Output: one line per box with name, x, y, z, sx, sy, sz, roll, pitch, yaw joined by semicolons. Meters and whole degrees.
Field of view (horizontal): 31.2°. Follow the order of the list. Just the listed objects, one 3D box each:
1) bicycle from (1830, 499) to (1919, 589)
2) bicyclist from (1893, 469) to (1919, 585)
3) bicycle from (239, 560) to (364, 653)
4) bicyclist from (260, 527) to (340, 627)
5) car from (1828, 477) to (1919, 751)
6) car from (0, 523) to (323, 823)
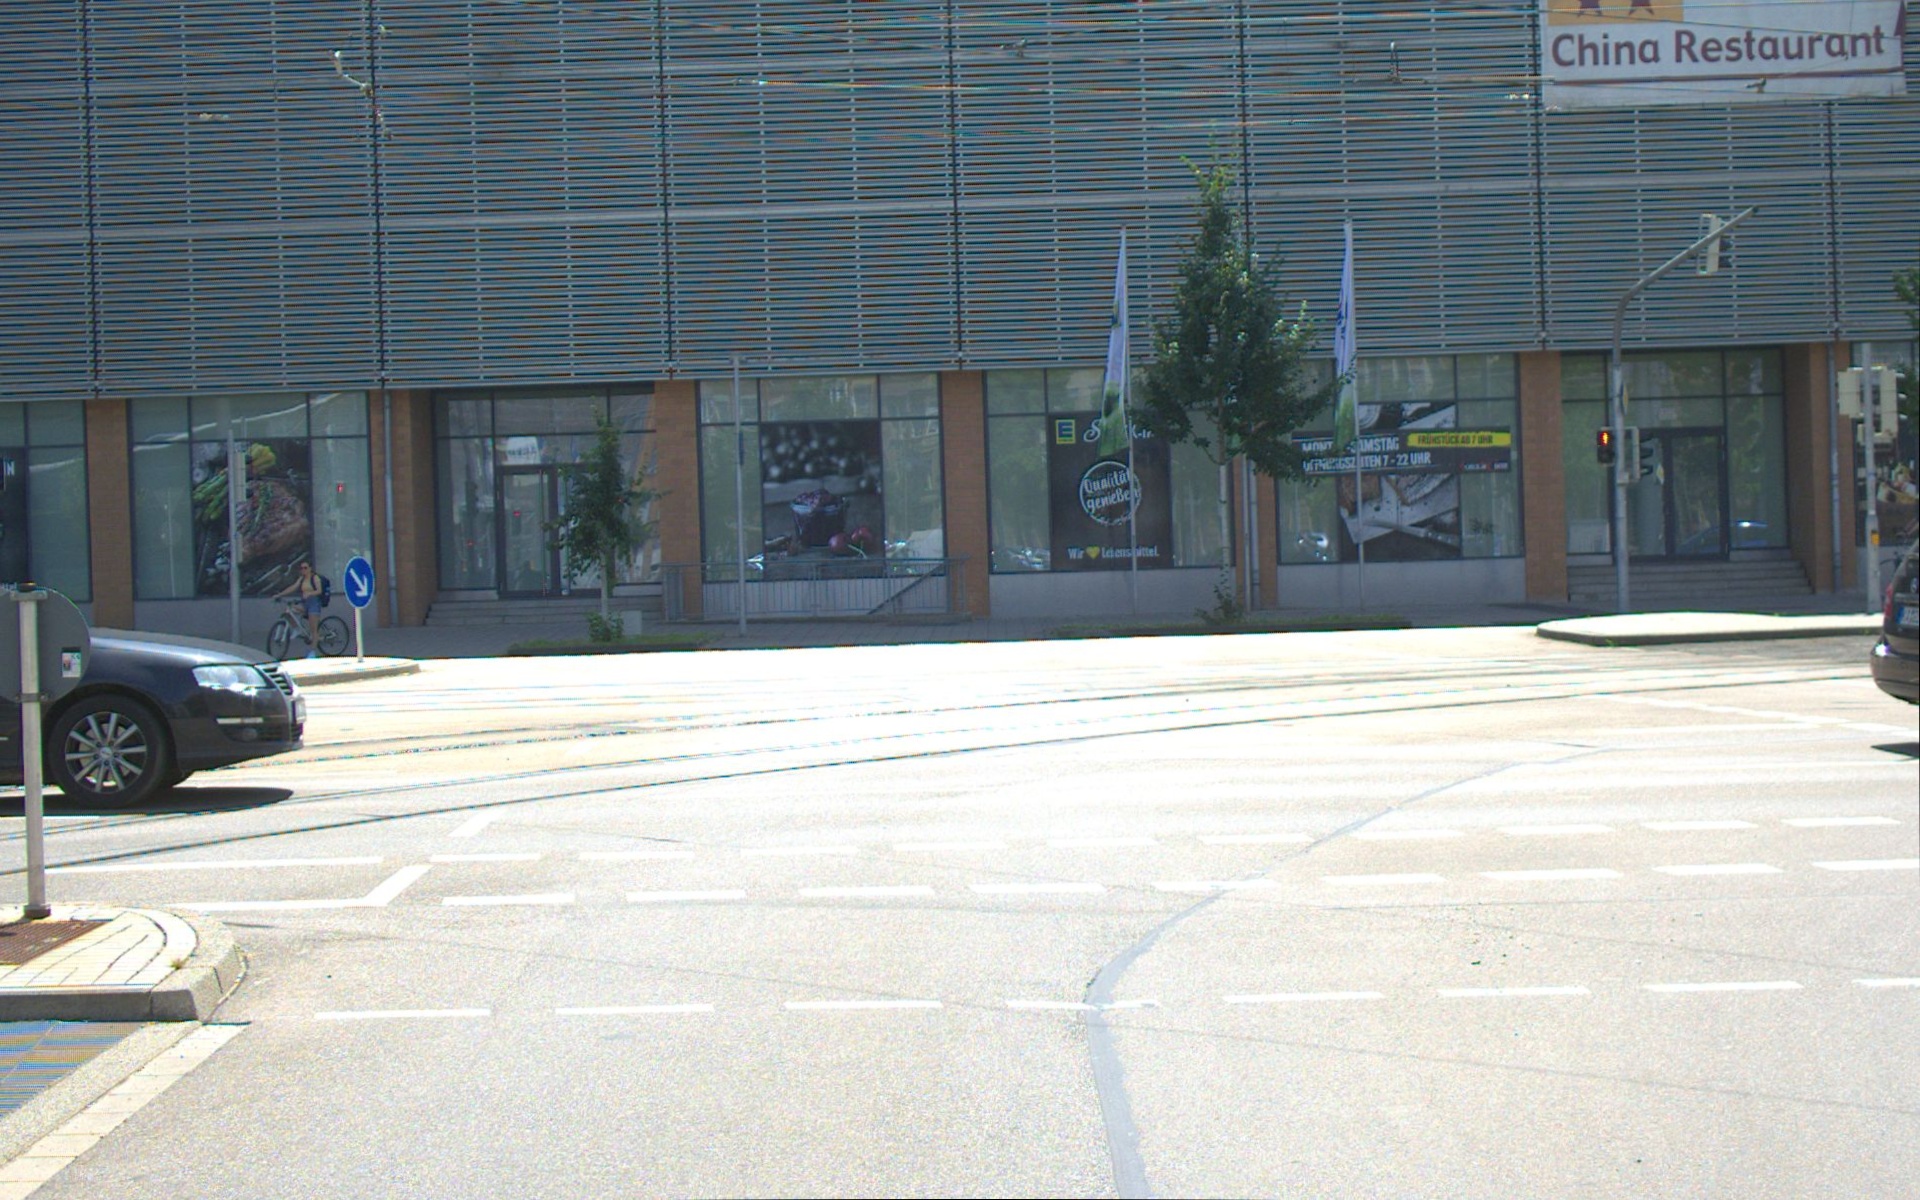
bicycle;16.715;-0.992;60.028;2.849;1.552;0.704;-1;2;3
bicyclist;16.827;-1.275;60.006;0.912;2.006;0.748;-1;2;2
bicycle;-10.551;0.089;55.189;1.062;1.385;3.023;0;2;7
bicyclist;-10.568;-0.376;55.085;1.040;1.566;0.777;0;2;7
car;7.547;0.034;20.228;4.319;1.548;2.000;-1;2;-4
car;-6.139;0.391;19.294;4.854;1.575;2.001;-1;2;-5
